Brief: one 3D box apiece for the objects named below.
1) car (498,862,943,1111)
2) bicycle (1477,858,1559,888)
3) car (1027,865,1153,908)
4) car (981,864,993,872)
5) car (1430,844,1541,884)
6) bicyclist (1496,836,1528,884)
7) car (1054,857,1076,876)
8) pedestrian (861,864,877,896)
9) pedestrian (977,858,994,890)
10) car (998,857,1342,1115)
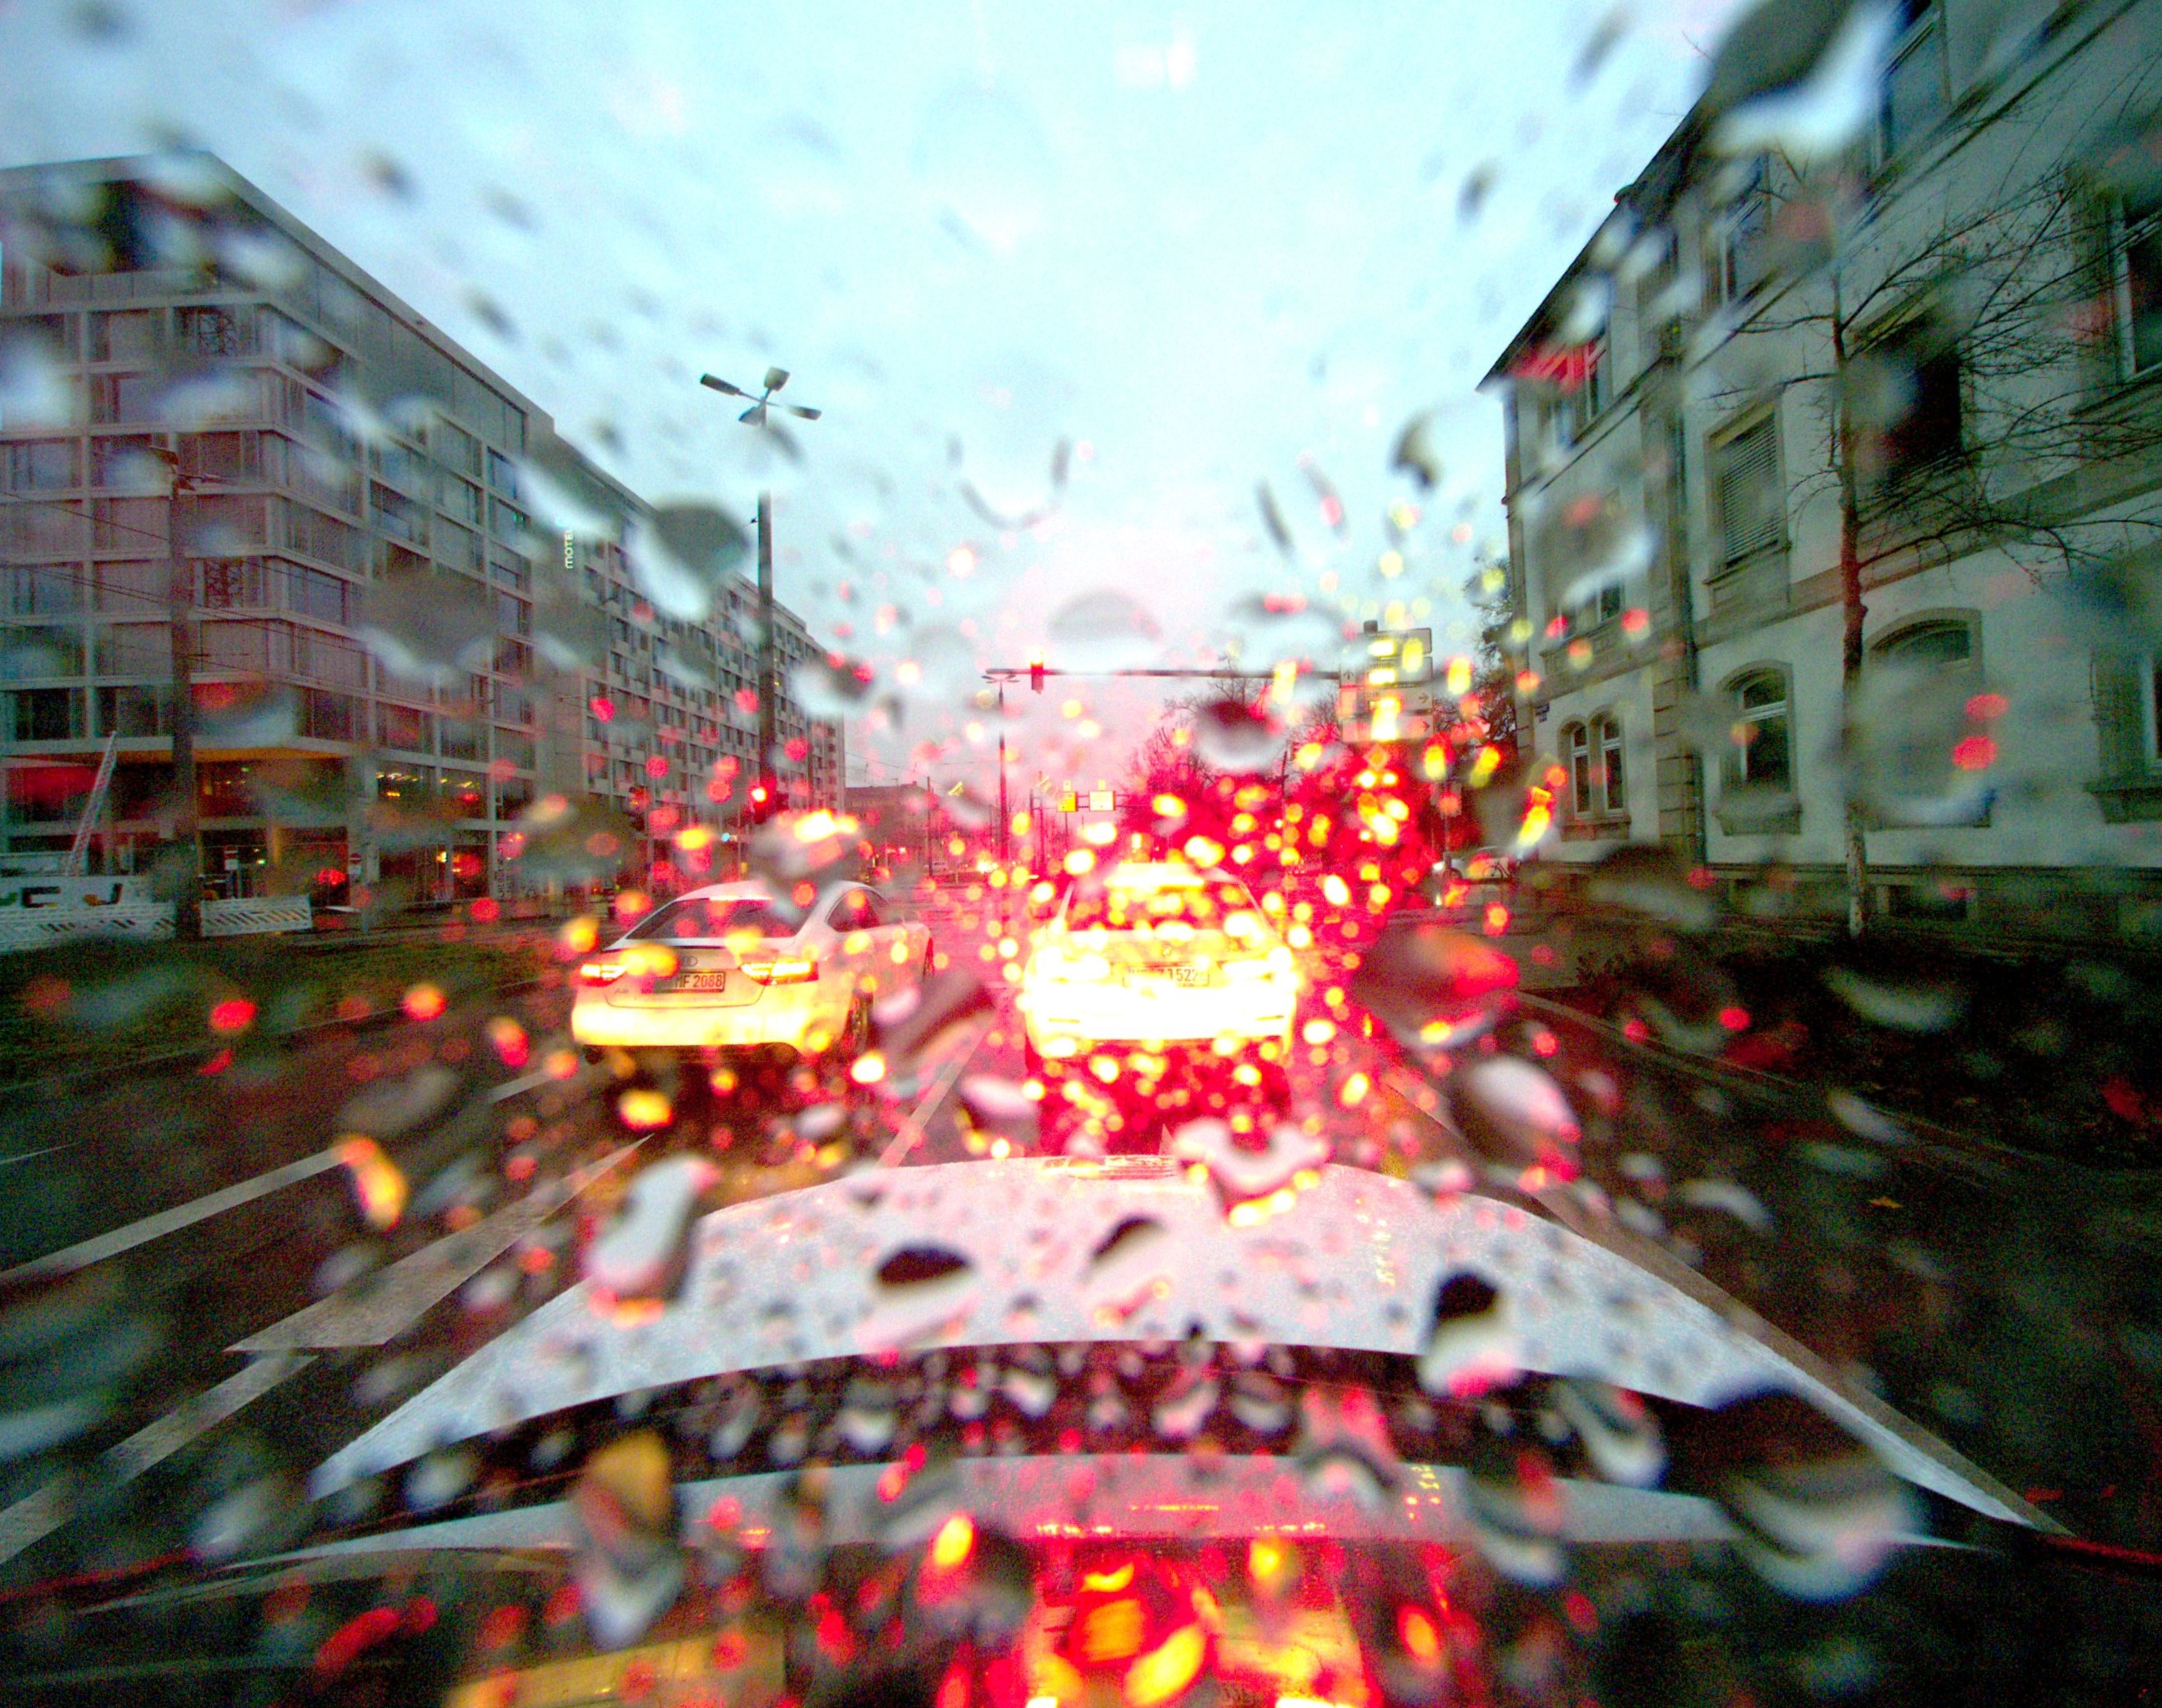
[{"bbox_3d":[-2.599,0.841,7.232,1.987,1.456,4.367,-1,0,0],"label":"car"},{"bbox_3d":[16.432,0.714,30.682,2.644,1.089,0.819,0,-1,20],"label":"bicycle"},{"bbox_3d":[0.357,1.162,30.010,4.276,1.530,1.771,0,-1,20],"label":"car"},{"bbox_3d":[-17.761,2.690,154.420,1.669,1.508,3.697,0,-1,1],"label":"car"},{"bbox_3d":[16.353,0.414,33.114,3.920,1.554,1.759,0,-1,23],"label":"car"},{"bbox_3d":[16.278,0.230,30.750,0.964,1.759,0.817,0,-1,20],"label":"bicyclist"},{"bbox_3d":[-1.381,1.076,69.047,1.839,1.609,3.940,0,-1,-3],"label":"car"},{"bbox_3d":[-11.652,1.426,44.801,0.791,1.712,0.809,0,-1,-13],"label":"pedestrian"},{"bbox_3d":[-5.498,1.139,46.862,0.904,1.856,0.808,0,-1,-15],"label":"pedestrian"},{"bbox_3d":[0.524,0.772,6.939,1.987,1.456,4.367,-1,0,0],"label":"car"}]
